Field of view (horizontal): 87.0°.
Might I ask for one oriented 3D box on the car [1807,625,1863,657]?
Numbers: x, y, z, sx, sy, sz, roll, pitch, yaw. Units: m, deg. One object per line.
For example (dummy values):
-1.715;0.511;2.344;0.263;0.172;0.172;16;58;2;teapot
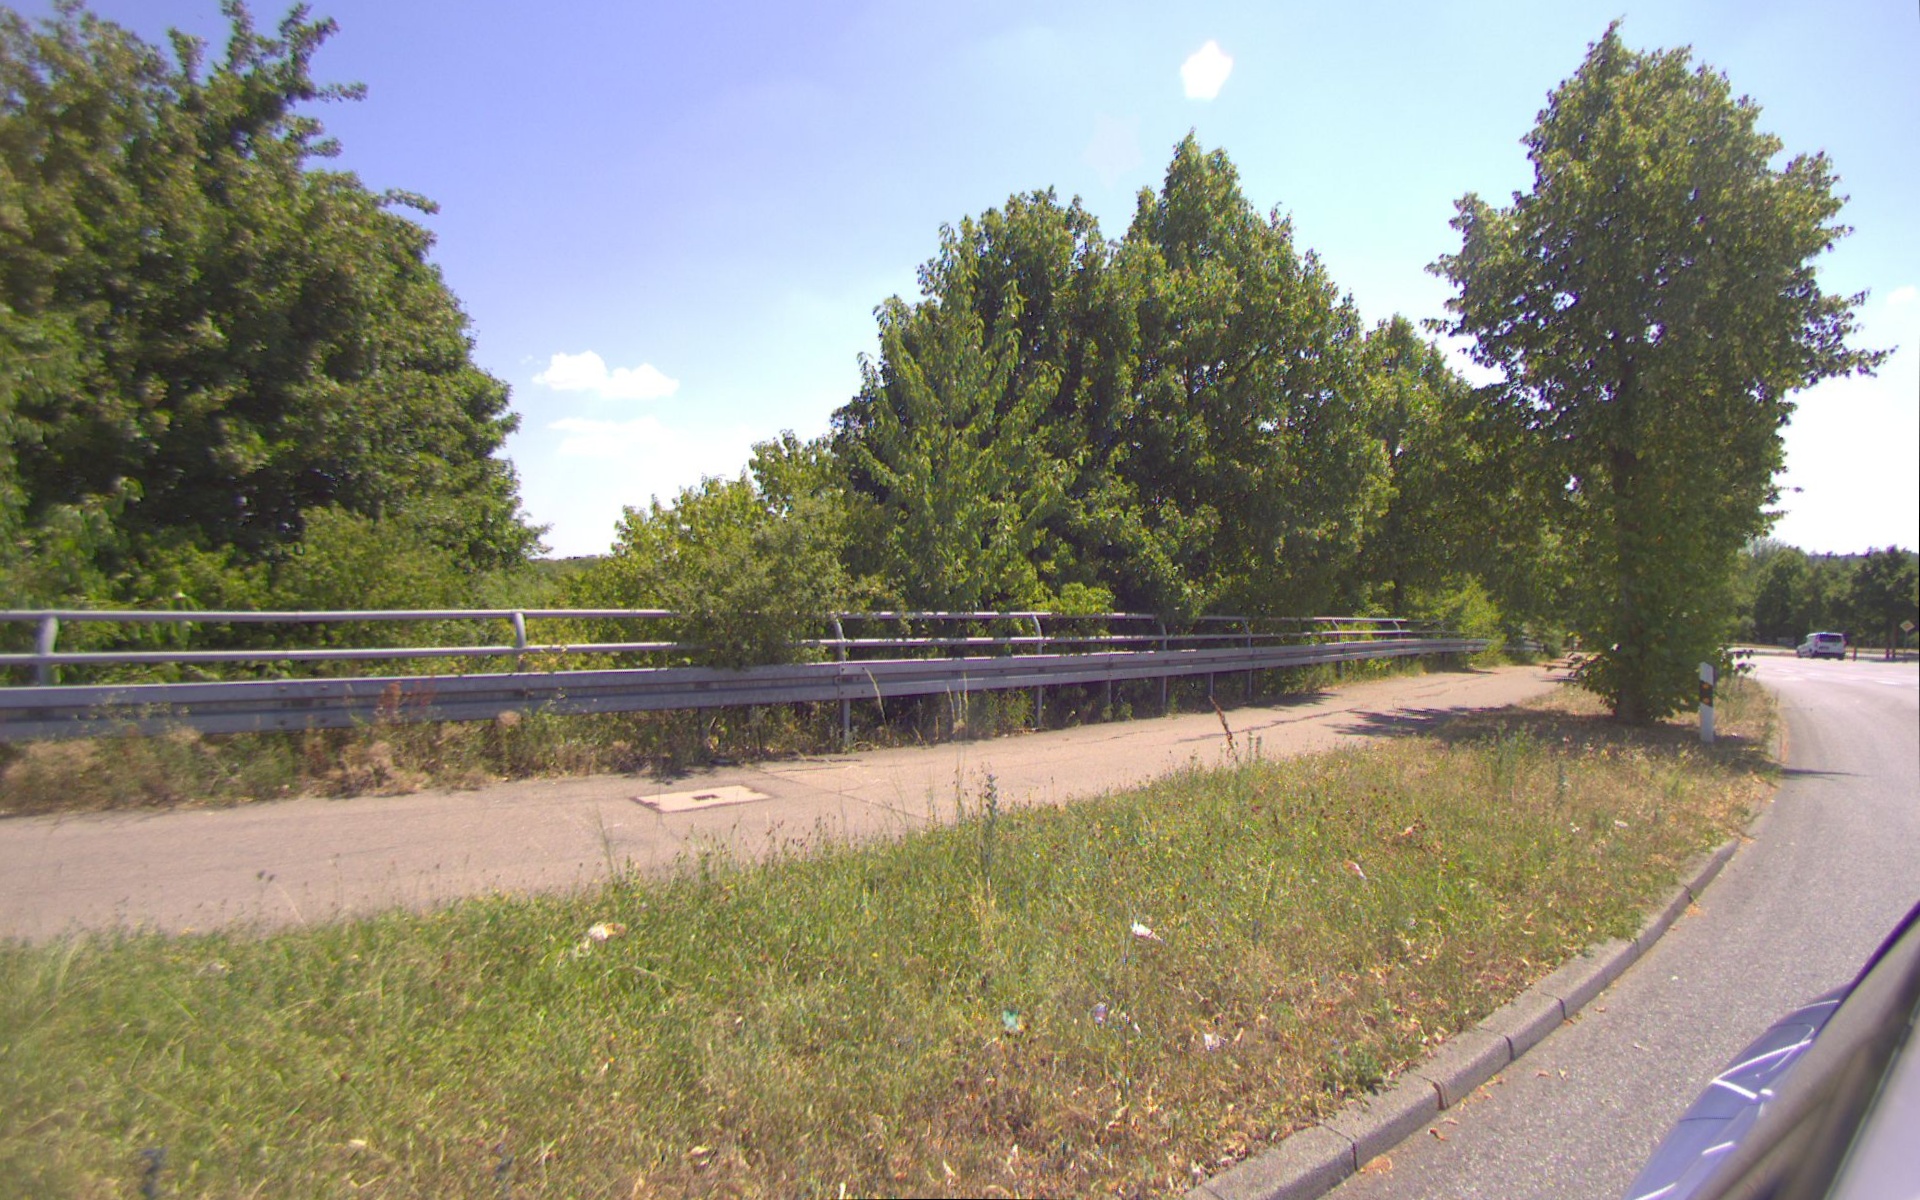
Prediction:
60.580;2.836;70.111;1.980;1.985;3.963;0;0;27;car
